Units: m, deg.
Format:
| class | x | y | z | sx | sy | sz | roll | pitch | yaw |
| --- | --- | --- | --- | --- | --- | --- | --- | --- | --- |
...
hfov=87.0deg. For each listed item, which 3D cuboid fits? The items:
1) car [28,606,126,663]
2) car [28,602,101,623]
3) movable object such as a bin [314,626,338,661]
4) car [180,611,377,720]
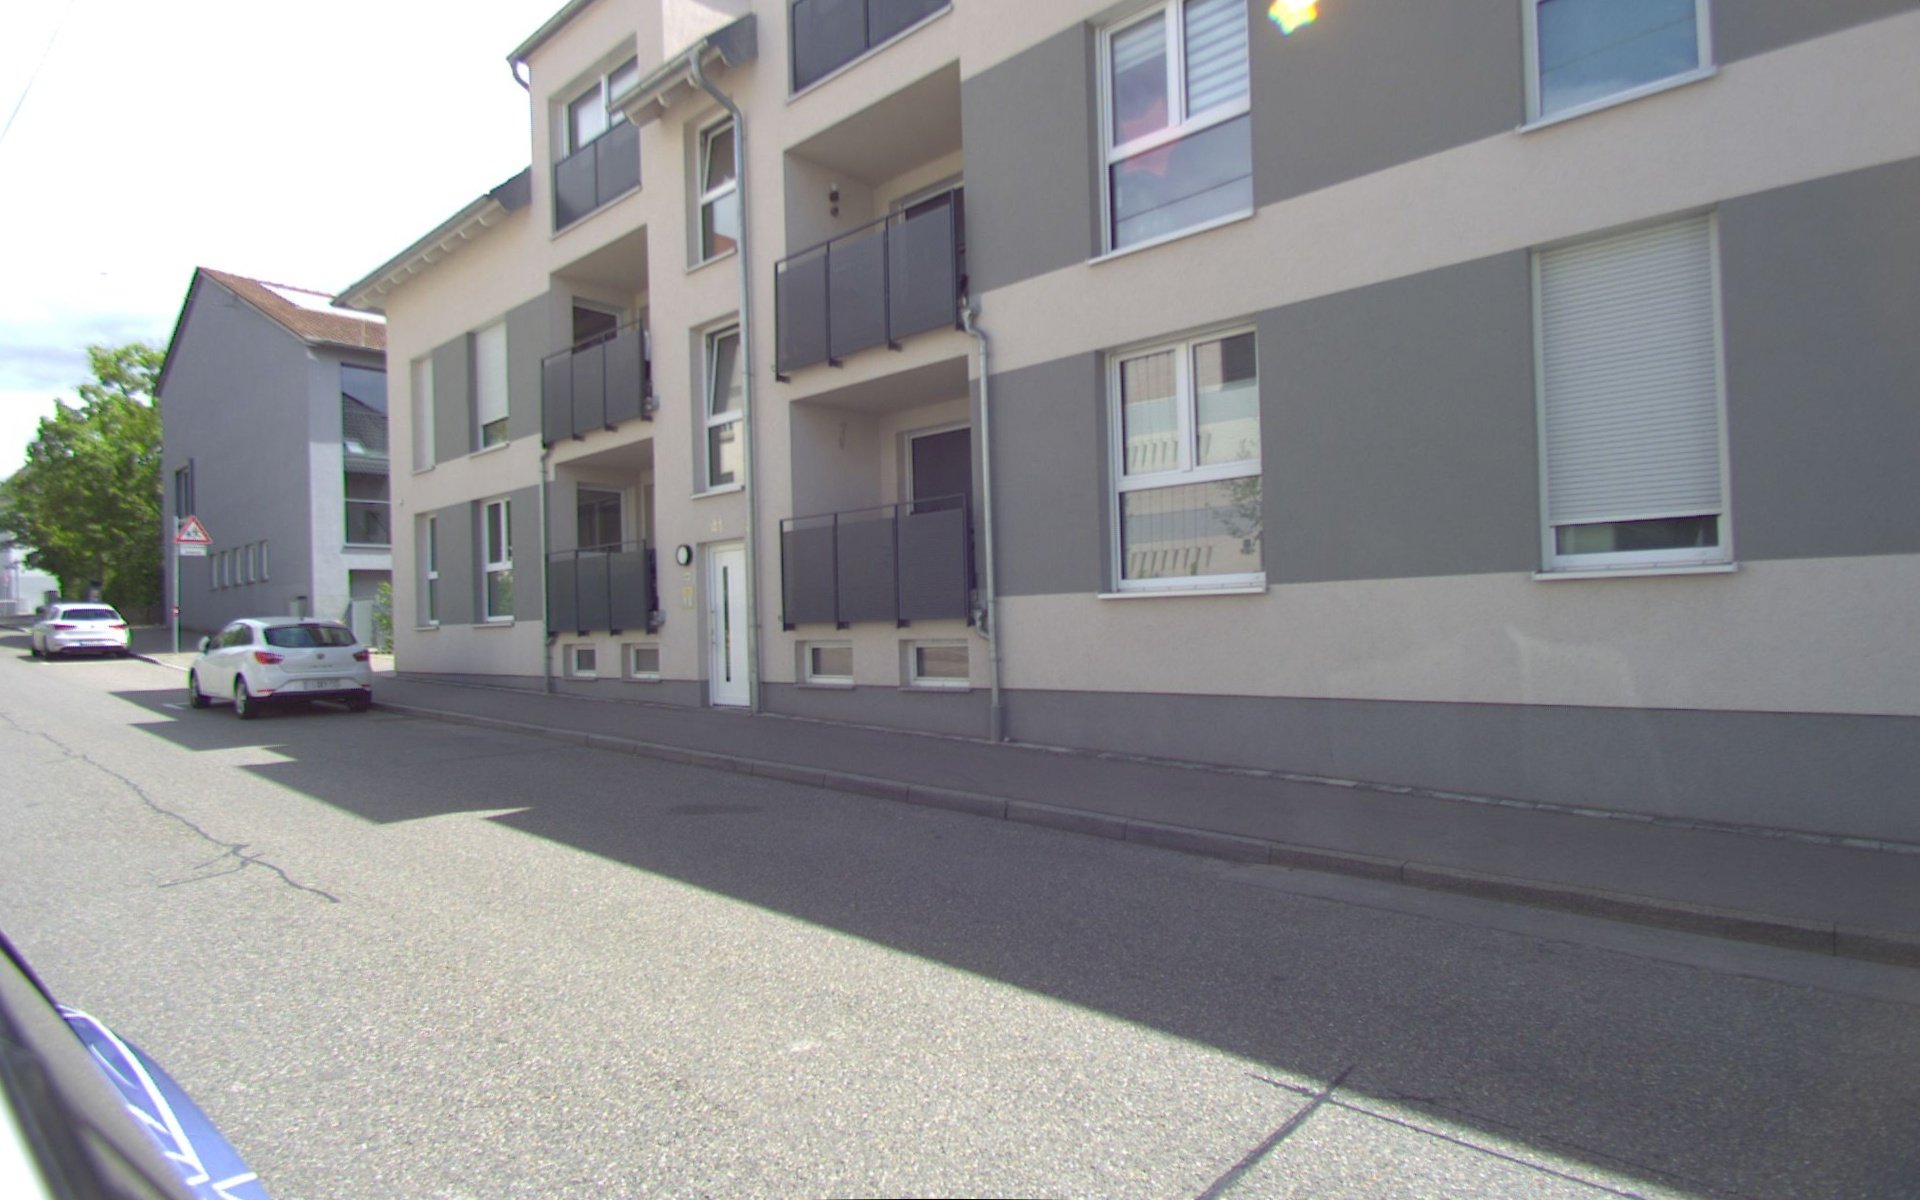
| class | x | y | z | sx | sy | sz | roll | pitch | yaw |
| --- | --- | --- | --- | --- | --- | --- | --- | --- | --- |
| car | -23.874 | 0.909 | 27.315 | 3.867 | 1.401 | 1.678 | -2 | -1 | 44 |
| car | -67.127 | 0.917 | 75.894 | 1.857 | 1.488 | 3.945 | -4 | -2 | 41 |
| movable object such as a bin | -17.317 | 1.182 | 27.628 | 0.399 | 0.936 | 0.449 | 0 | -1 | 41 |
| car | -10.567 | 0.909 | 15.596 | 3.697 | 1.429 | 1.630 | 0 | 1 | 41 |
